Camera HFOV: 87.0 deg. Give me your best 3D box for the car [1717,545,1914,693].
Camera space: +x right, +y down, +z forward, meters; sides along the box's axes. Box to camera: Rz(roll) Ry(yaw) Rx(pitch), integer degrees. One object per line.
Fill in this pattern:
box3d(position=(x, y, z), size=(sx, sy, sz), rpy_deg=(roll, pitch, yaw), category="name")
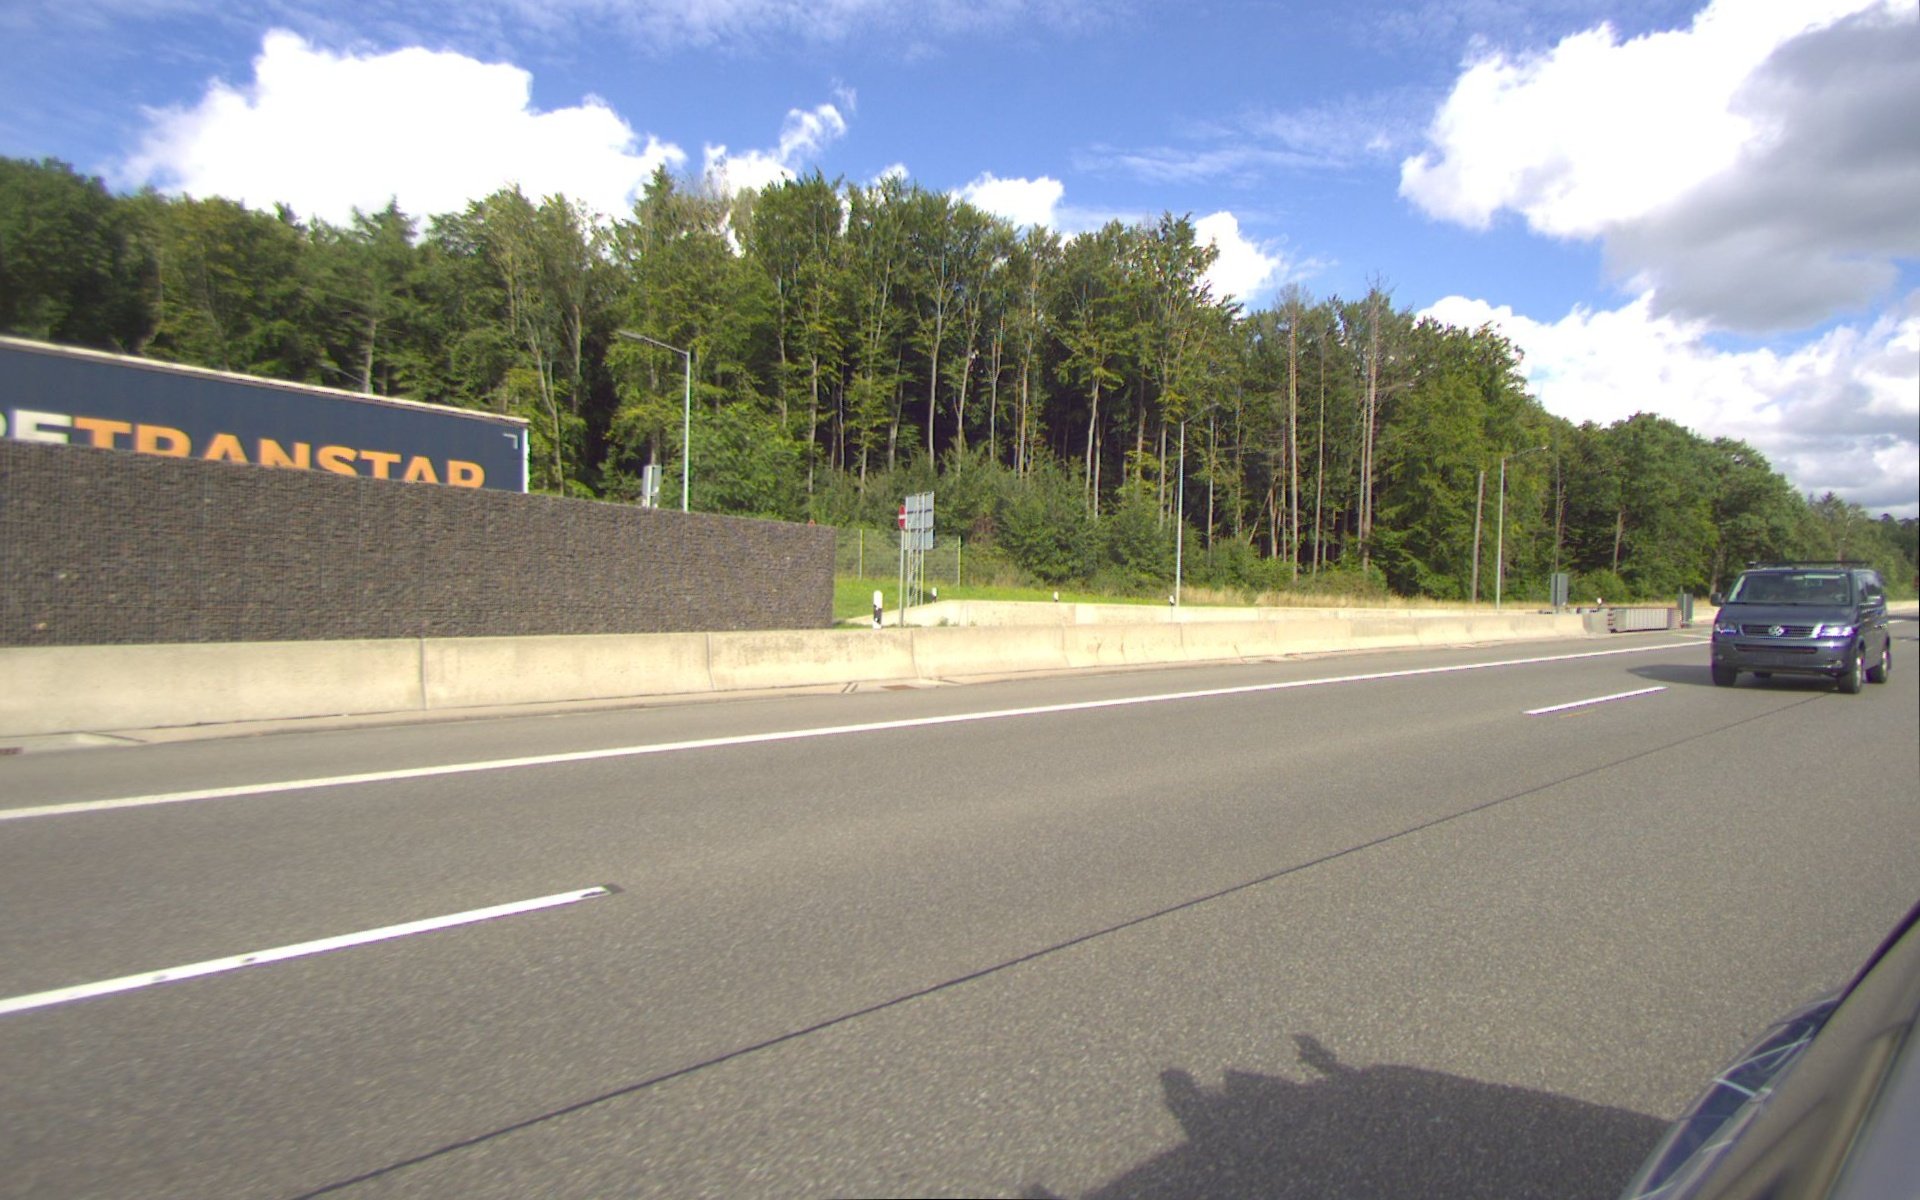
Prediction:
box3d(position=(14.741, 0.222, 17.334), size=(4.876, 2.192, 1.925), rpy_deg=(-1, 2, -42), category="car")
